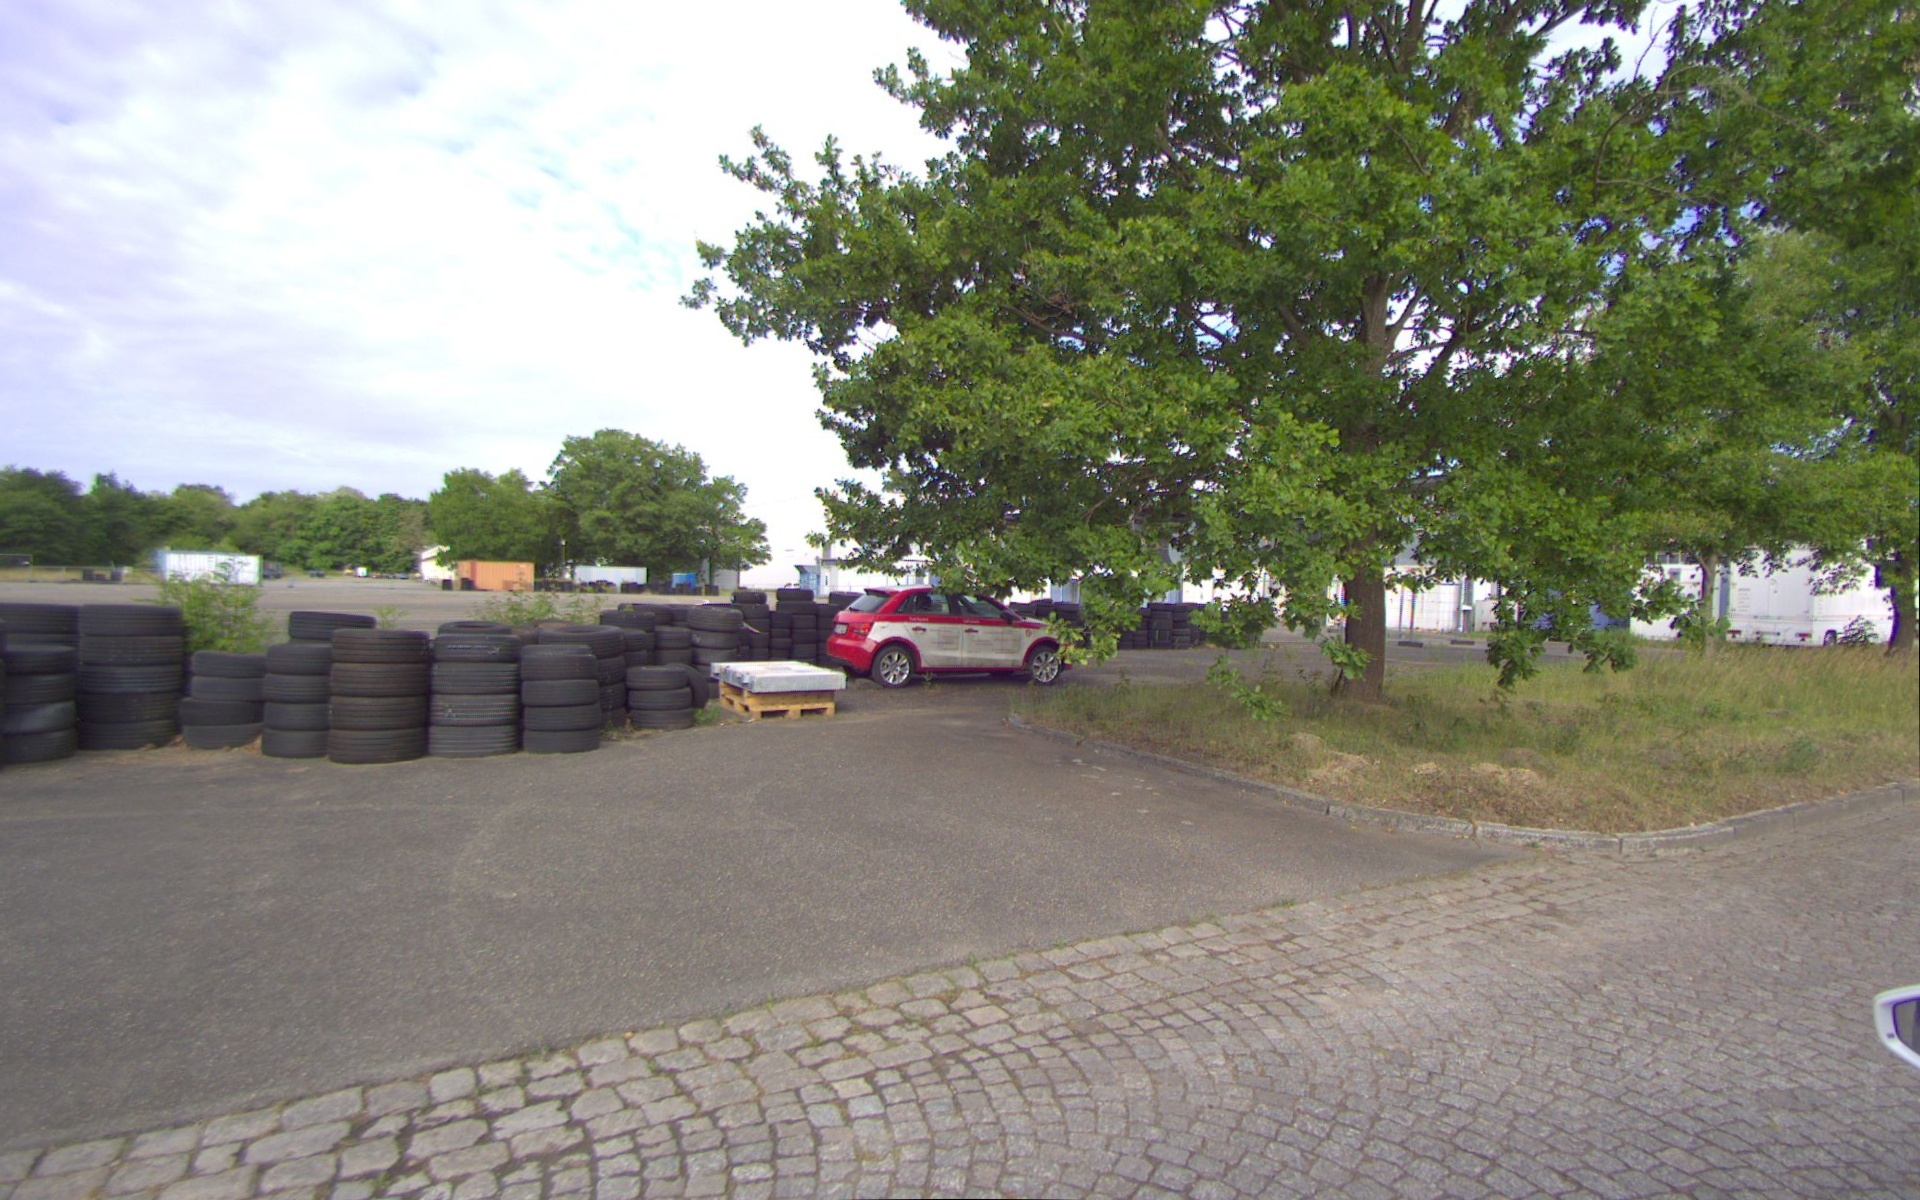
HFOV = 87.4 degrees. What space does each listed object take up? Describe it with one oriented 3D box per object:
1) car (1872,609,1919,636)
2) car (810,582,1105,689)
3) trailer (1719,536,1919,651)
[{"bbox_3d":[60.523,1.450,64.425,3.952,1.596,1.892,1,1,-30],"label":"car"},{"bbox_3d":[-0.033,0.512,15.444,4.161,1.451,1.818,1,1,-25],"label":"car"},{"bbox_3d":[31.864,-0.124,36.516,10.589,3.755,2.645,1,1,-29],"label":"trailer"}]
